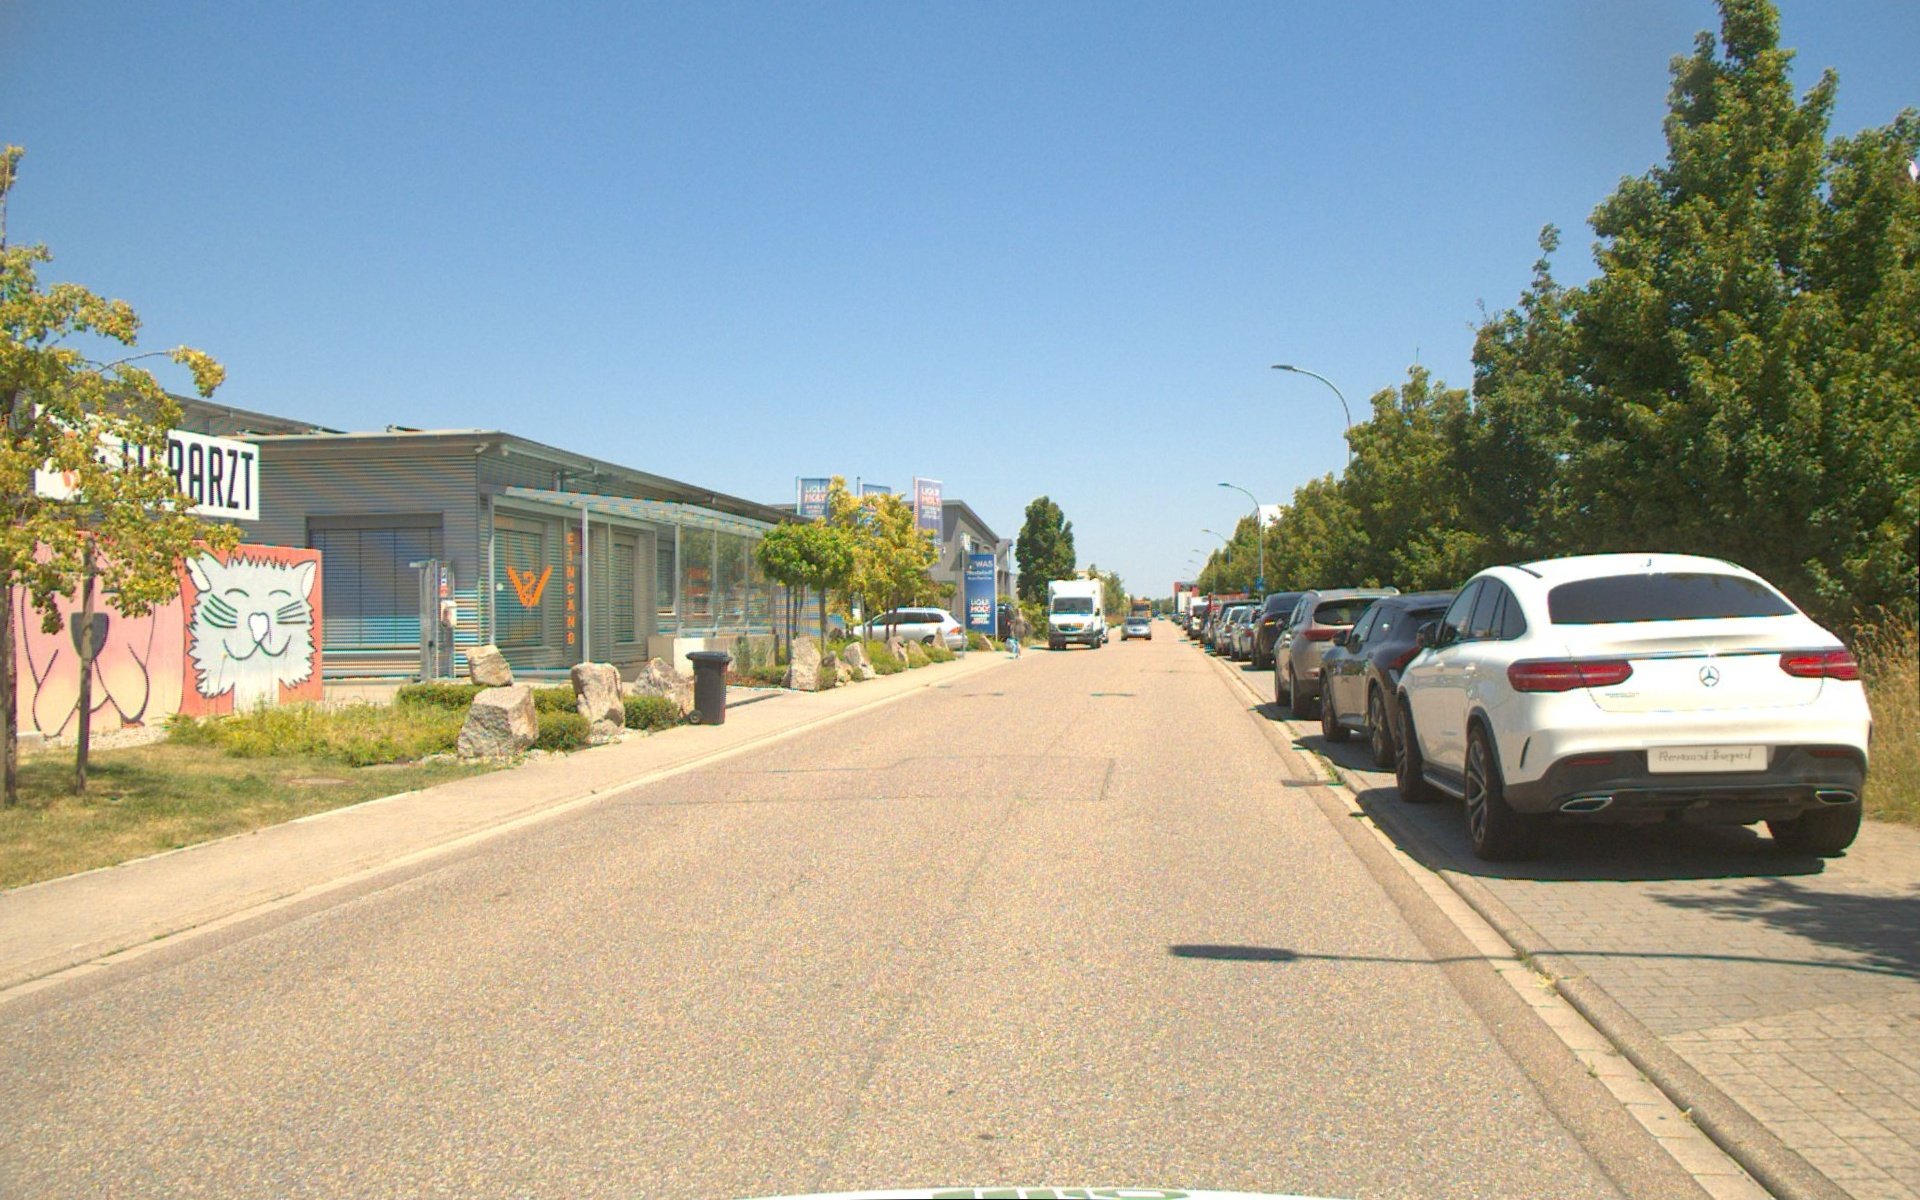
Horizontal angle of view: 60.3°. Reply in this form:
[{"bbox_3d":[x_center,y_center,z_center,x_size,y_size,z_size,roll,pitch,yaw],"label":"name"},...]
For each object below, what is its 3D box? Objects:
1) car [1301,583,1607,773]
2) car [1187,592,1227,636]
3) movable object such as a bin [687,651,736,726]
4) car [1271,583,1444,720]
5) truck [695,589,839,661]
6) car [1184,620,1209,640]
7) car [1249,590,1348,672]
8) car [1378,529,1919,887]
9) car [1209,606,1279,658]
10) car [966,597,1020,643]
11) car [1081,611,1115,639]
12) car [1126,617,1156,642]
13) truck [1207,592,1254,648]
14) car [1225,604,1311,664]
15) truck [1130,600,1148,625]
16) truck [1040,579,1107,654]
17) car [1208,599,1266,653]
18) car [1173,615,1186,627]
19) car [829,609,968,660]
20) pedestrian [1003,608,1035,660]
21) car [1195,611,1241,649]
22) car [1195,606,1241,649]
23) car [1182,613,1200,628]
[{"bbox_3d":[4.729,0.695,16.570,1.864,1.555,4.632,-3,-1,3],"label":"car"},{"bbox_3d":[14.996,0.872,100.311,2.219,2.541,6.156,-2,-1,9],"label":"car"},{"bbox_3d":[-3.286,1.165,21.872,0.559,0.966,0.512,0,-1,1],"label":"movable object such as a bin"},{"bbox_3d":[5.438,0.669,23.142,1.766,1.664,4.461,-3,-1,7],"label":"car"},{"bbox_3d":[-10.179,1.269,86.639,7.903,3.619,2.576,0,-1,36],"label":"truck"},{"bbox_3d":[18.626,2.384,130.188,1.672,1.531,4.709,-2,-1,12],"label":"car"},{"bbox_3d":[7.911,0.703,39.014,1.907,1.730,4.548,-3,-1,7],"label":"car"},{"bbox_3d":[4.142,0.571,10.738,2.098,1.728,4.788,-3,-1,7],"label":"car"},{"bbox_3d":[8.928,0.980,52.317,1.678,1.509,4.776,-3,-1,4],"label":"car"},{"bbox_3d":[1.560,0.919,75.556,1.951,1.991,5.221,0,-1,7],"label":"car"},{"bbox_3d":[7.677,1.372,91.530,1.693,1.484,4.494,0,-1,7],"label":"car"},{"bbox_3d":[11.317,1.817,103.105,1.745,1.447,4.416,-3,-1,7],"label":"car"},{"bbox_3d":[11.241,0.843,68.999,1.643,2.219,4.393,-3,-1,7],"label":"truck"},{"bbox_3d":[8.541,0.909,46.145,1.767,1.509,4.776,-3,-1,4],"label":"car"},{"bbox_3d":[27.146,1.914,250.618,2.396,3.574,8.278,-2,-1,7],"label":"truck"},{"bbox_3d":[4.832,0.710,69.531,2.311,2.910,6.419,-3,-1,7],"label":"truck"},{"bbox_3d":[9.638,0.884,57.839,1.772,1.755,4.777,-3,-1,8],"label":"car"},{"bbox_3d":[28.257,2.719,213.187,1.551,1.434,3.502,-1,-1,7],"label":"car"},{"bbox_3d":[-1.921,1.091,52.636,4.171,1.545,1.867,-1,-1,6],"label":"car"},{"bbox_3d":[1.857,1.050,51.895,0.880,1.602,0.786,1,-1,8],"label":"pedestrian"},{"bbox_3d":[11.424,1.325,73.450,1.701,1.557,4.002,-3,-1,5],"label":"car"},{"bbox_3d":[12.334,1.320,79.281,1.951,1.918,5.159,-2,-1,7],"label":"car"},{"bbox_3d":[23.240,2.029,166.140,1.681,1.475,3.648,-2,-1,7],"label":"car"}]
